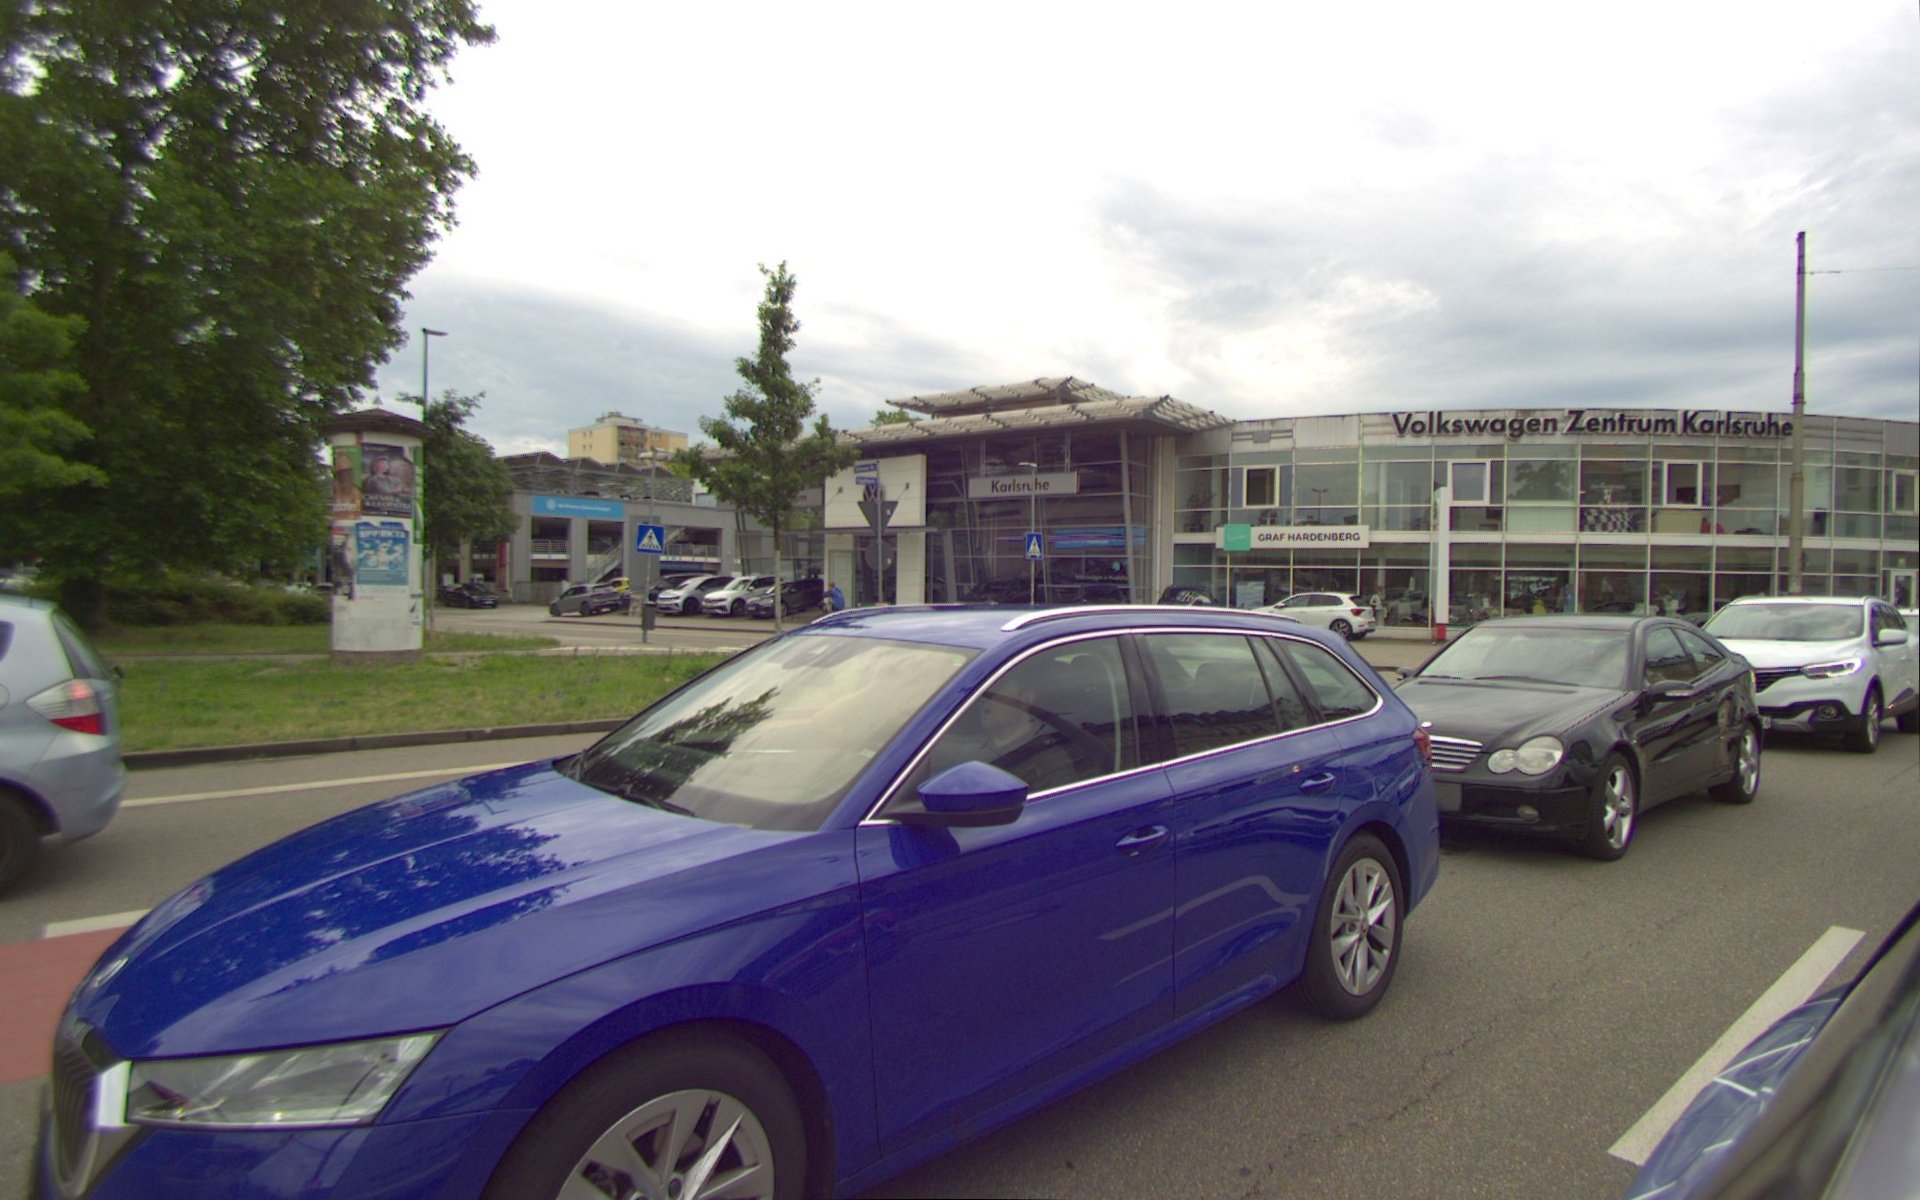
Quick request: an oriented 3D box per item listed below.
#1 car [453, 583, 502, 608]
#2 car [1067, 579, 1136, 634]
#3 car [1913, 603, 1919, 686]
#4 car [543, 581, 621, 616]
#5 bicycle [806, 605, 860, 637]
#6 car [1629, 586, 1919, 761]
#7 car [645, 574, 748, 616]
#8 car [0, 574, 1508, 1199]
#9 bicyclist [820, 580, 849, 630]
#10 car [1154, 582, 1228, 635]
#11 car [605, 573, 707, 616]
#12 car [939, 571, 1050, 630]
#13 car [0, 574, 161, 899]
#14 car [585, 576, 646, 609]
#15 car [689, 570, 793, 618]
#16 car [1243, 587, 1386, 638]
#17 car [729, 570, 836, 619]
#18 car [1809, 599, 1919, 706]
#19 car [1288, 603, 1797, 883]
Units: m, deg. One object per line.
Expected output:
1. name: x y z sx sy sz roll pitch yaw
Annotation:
1. car: -28.605 -0.292 59.921 1.928 1.358 3.678 -1 2 -37
2. car: 4.713 0.151 33.199 1.927 1.544 4.216 1 3 12
3. car: 18.968 0.802 18.314 3.899 1.454 1.909 0 1 -38
4. car: -18.489 -0.110 49.421 4.128 1.530 1.634 2 5 38
5. bicycle: -3.943 0.640 31.383 1.779 0.923 0.555 2 1 36
6. car: 9.384 0.660 11.302 4.069 1.578 1.983 0 1 -38
7. car: -11.957 -0.265 46.124 1.946 1.483 4.178 2 6 37
8. car: -0.017 0.681 3.423 4.674 1.454 1.768 0 0 -41
9. bicyclist: -3.895 0.139 31.325 0.691 1.515 0.548 1 1 36
10. car: 7.346 0.212 32.536 1.760 1.580 4.029 1 1 5
11. car: -14.239 -0.316 47.607 1.946 1.529 4.179 2 7 37
12. car: 1.302 -0.064 35.842 1.942 1.662 4.627 1 5 31
13. car: -5.993 0.633 4.394 3.867 1.502 1.707 0 0 -43
14. car: -17.535 -0.407 51.543 3.106 1.530 1.422 2 5 38
15. car: -9.592 -0.313 44.521 1.946 1.615 4.179 2 8 37
16. car: 11.088 0.351 31.739 3.889 1.459 1.708 2 1 40
17. car: -7.424 -0.283 42.715 1.946 1.472 4.180 2 9 37
18. car: 14.685 0.737 15.414 3.899 1.454 1.909 0 1 -38
19. car: 4.354 0.735 7.258 4.343 1.388 1.769 0 0 -40
